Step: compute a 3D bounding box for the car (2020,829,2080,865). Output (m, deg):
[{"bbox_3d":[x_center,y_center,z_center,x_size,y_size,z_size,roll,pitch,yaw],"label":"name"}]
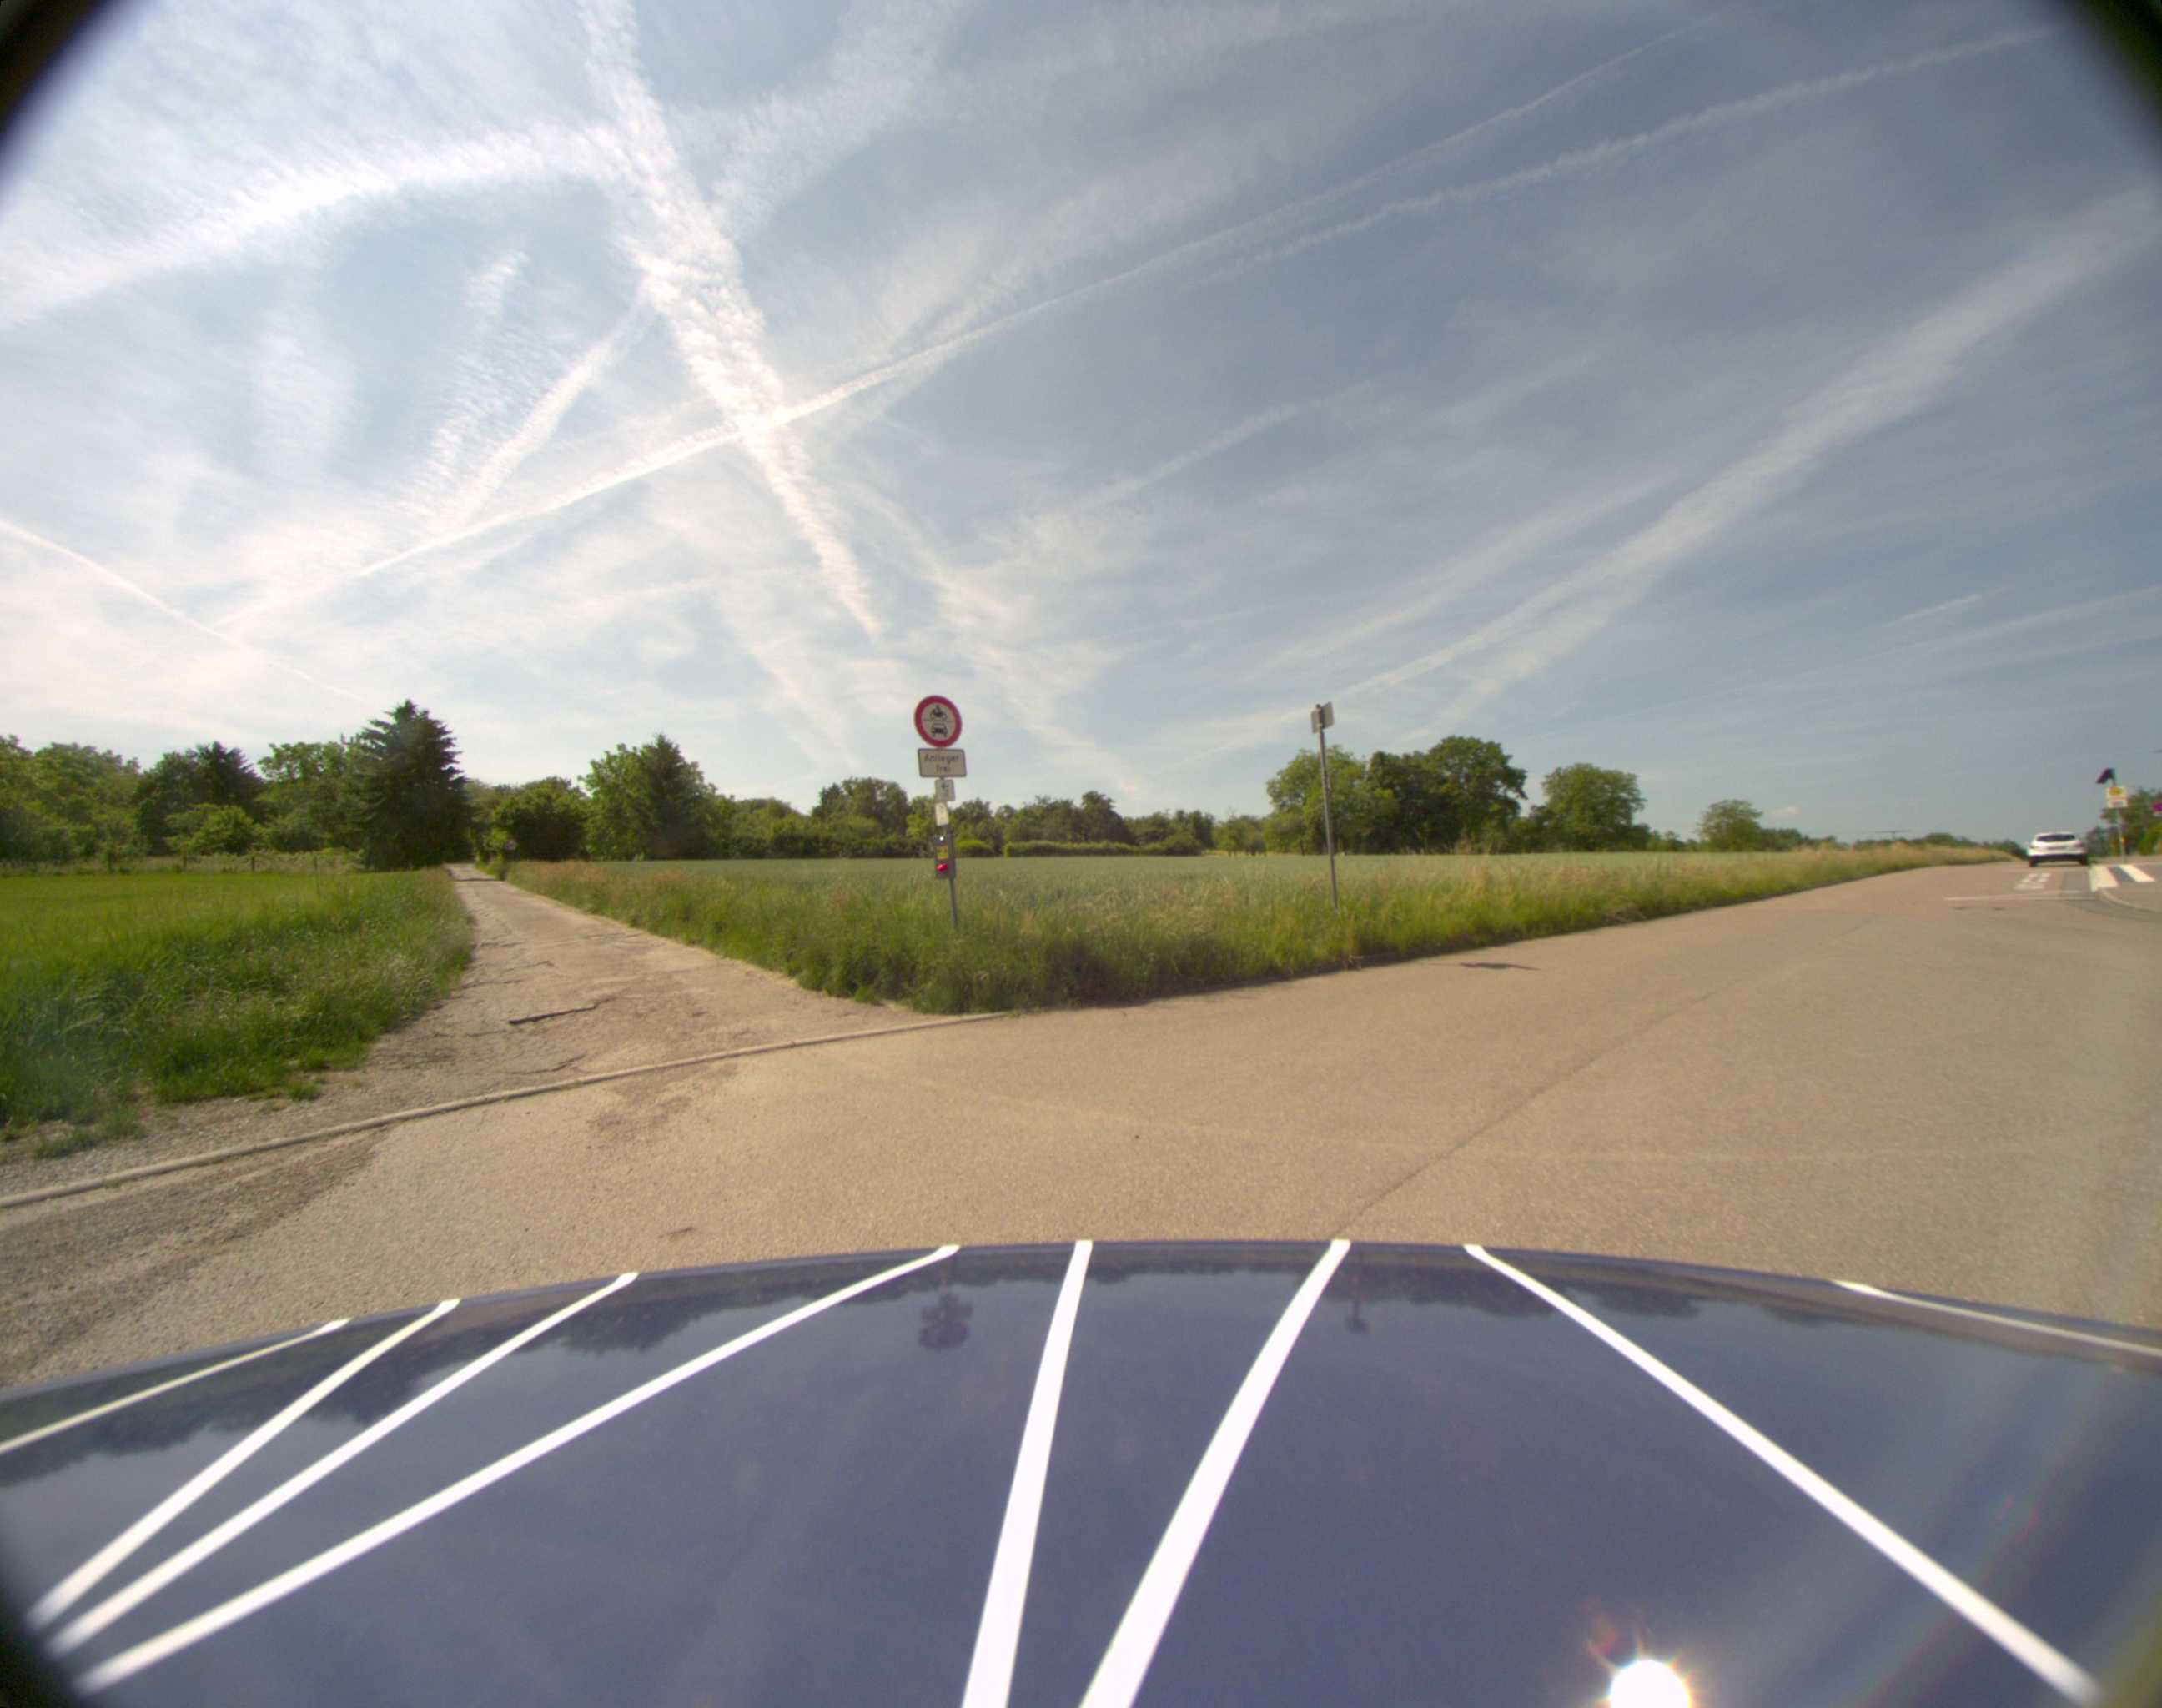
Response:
[{"bbox_3d":[48.541,-0.357,38.092,4.360,1.623,1.736,-1,-2,-38],"label":"car"}]
